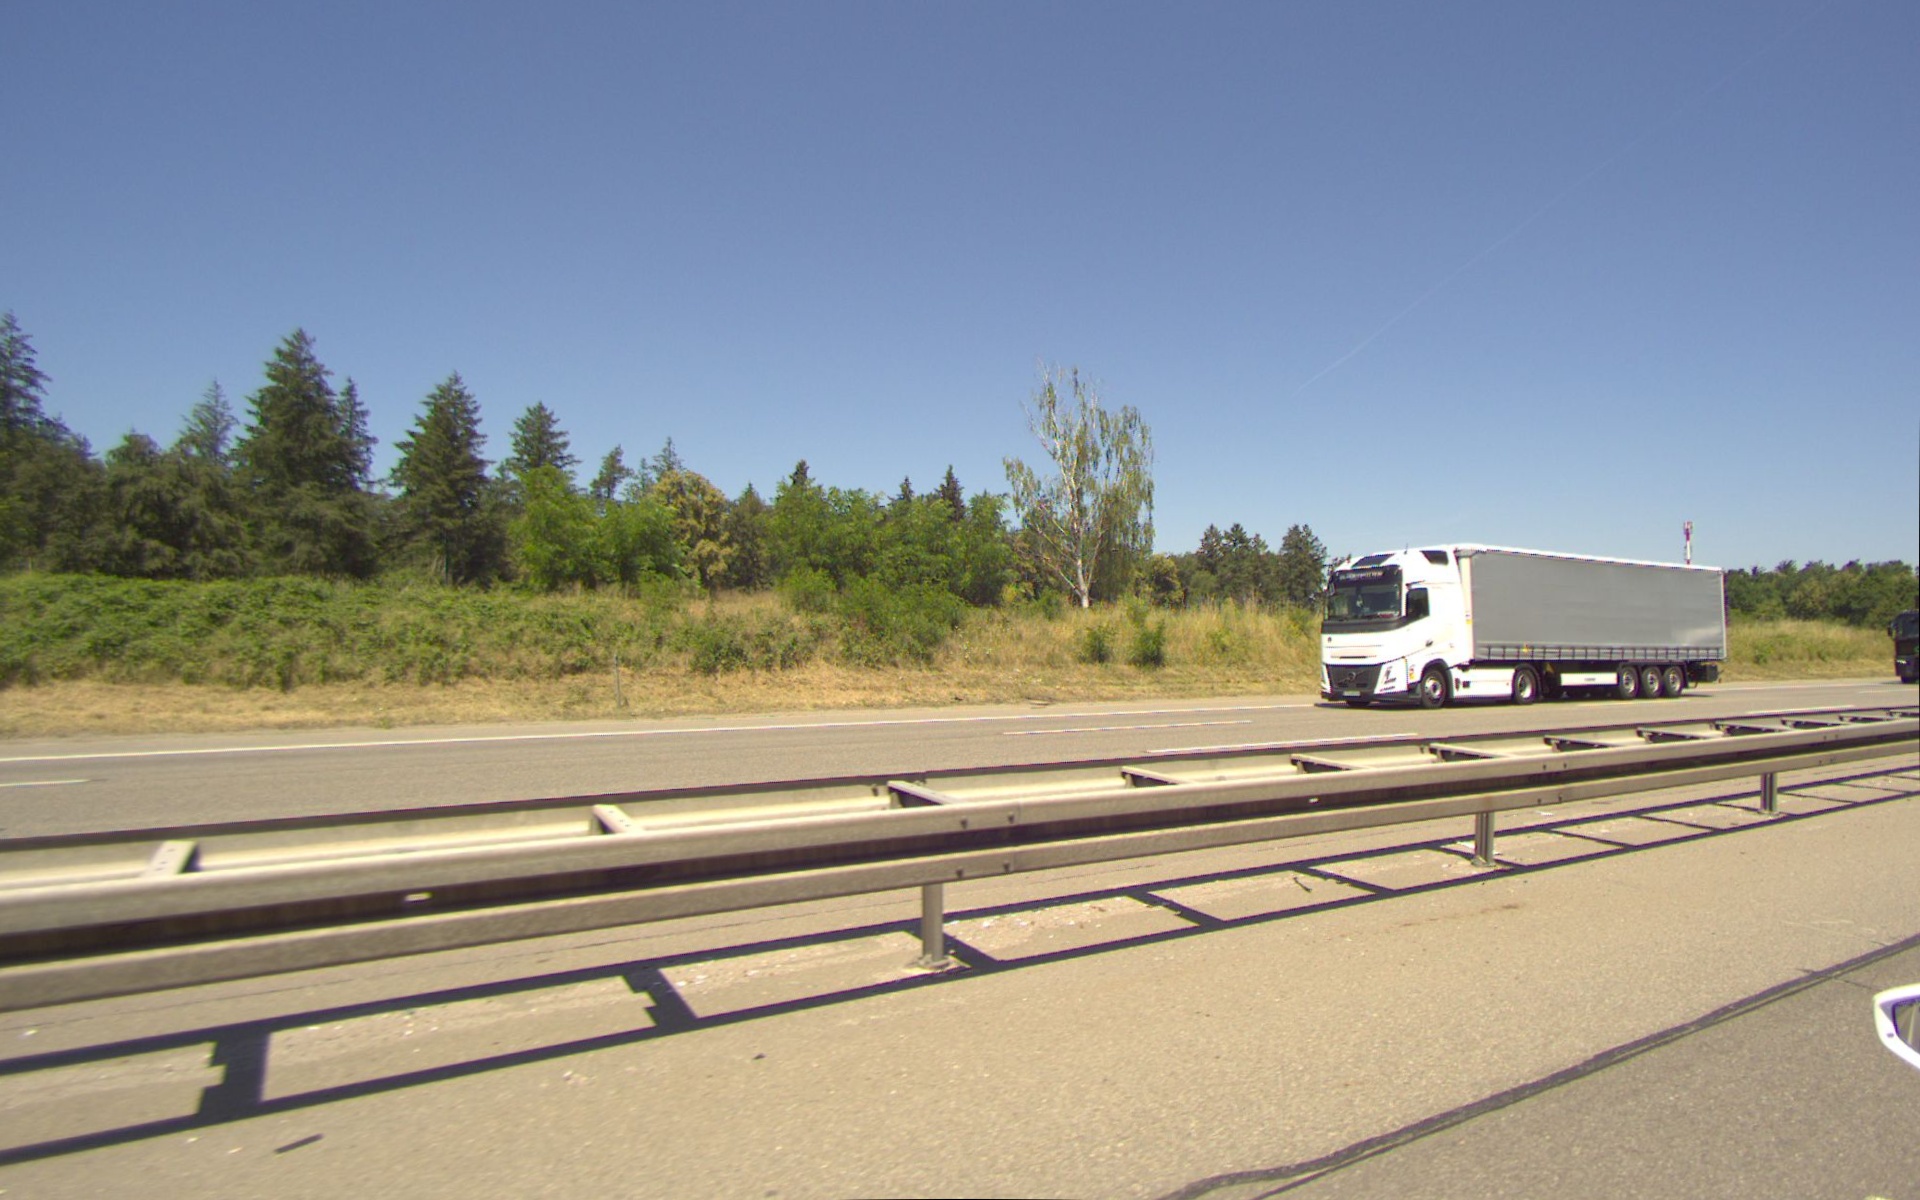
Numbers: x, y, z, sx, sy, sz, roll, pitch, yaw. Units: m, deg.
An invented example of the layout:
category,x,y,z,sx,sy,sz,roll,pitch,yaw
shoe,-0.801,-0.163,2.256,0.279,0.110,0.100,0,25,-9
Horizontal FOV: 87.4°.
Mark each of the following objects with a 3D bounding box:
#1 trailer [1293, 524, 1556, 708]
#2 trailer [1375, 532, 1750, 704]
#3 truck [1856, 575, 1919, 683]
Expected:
category,x,y,z,sx,sy,sz,roll,pitch,yaw
trailer,12.106,0.519,26.151,6.251,4.253,3.141,2,-4,-30
trailer,18.254,0.695,29.802,13.960,4.253,3.141,2,-4,-30
truck,46.773,1.433,47.164,12.044,4.684,3.362,2,-4,-30
